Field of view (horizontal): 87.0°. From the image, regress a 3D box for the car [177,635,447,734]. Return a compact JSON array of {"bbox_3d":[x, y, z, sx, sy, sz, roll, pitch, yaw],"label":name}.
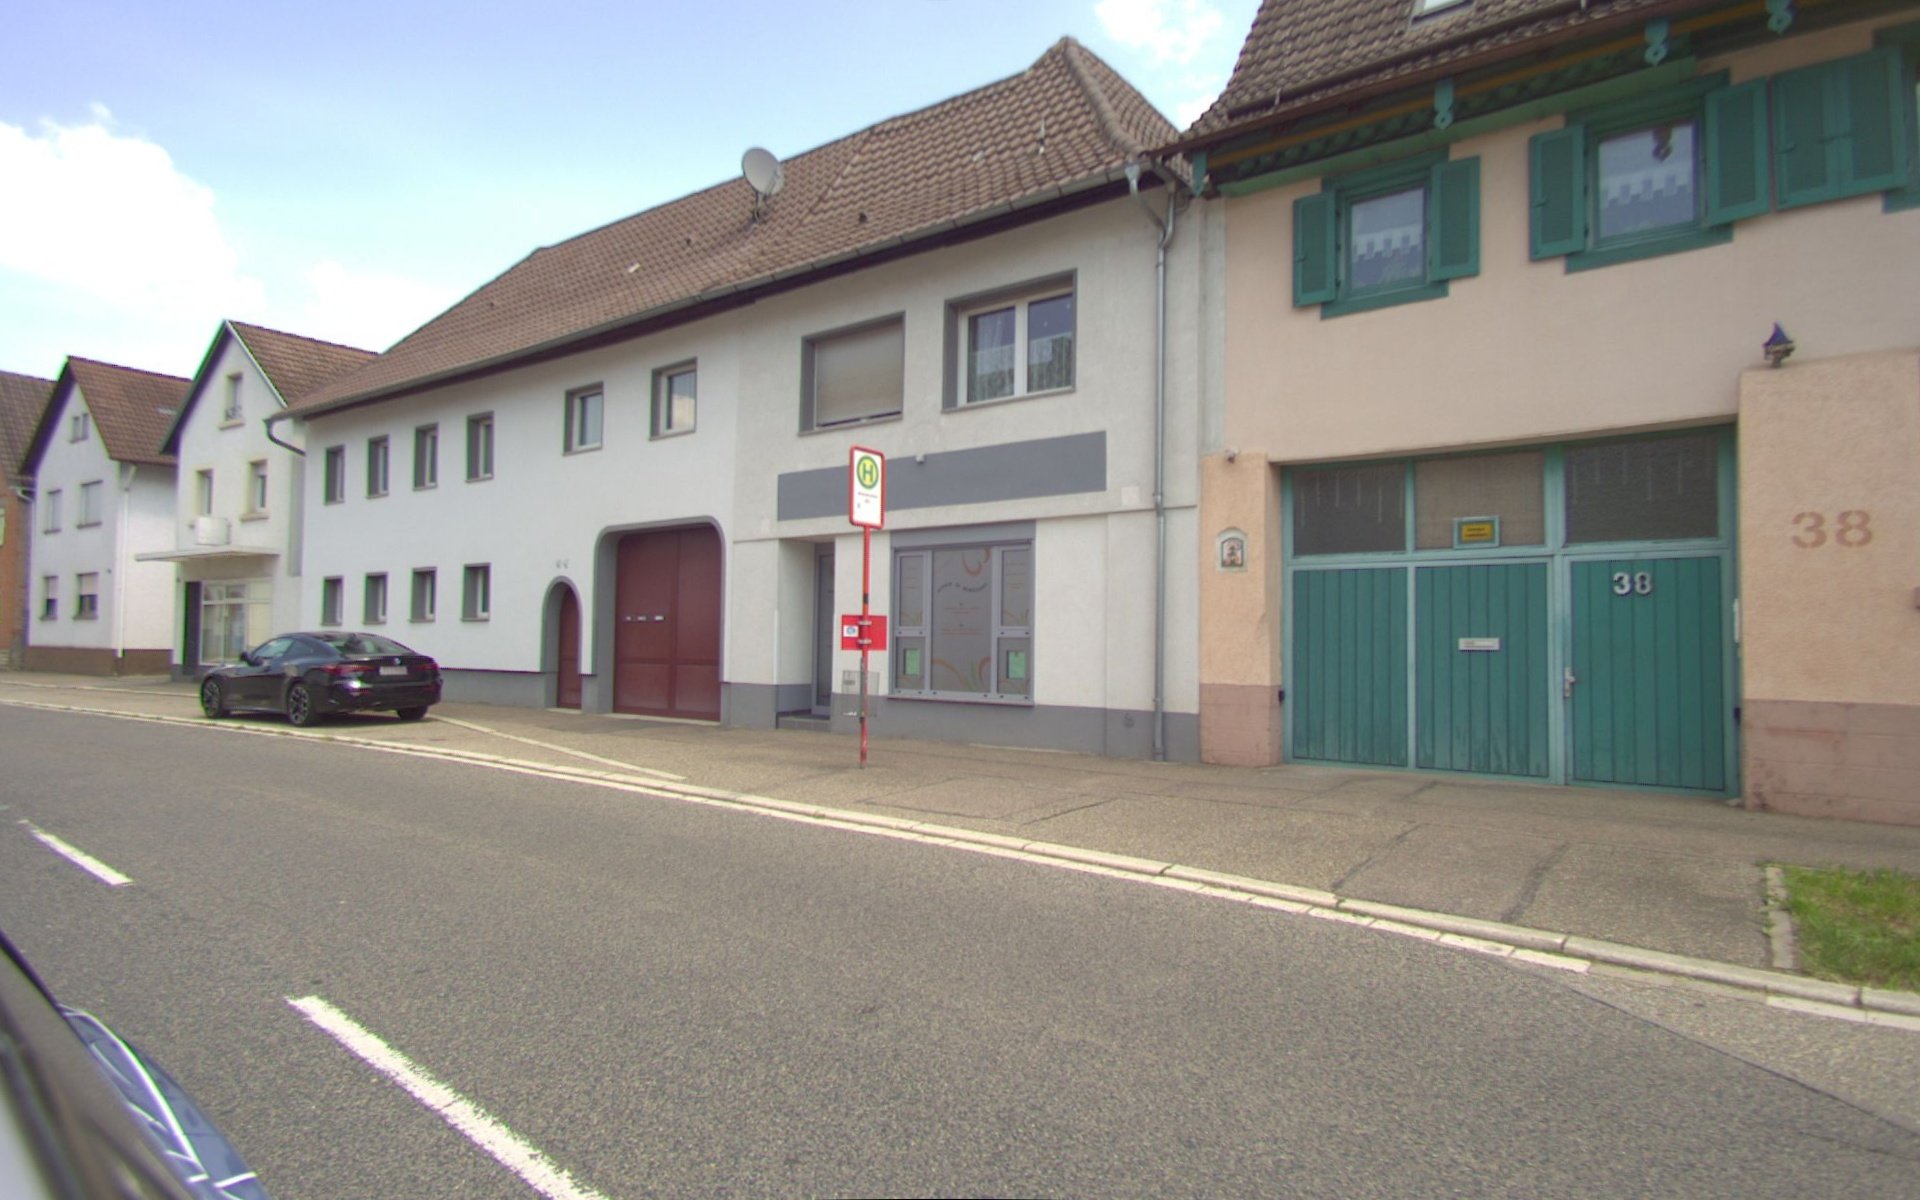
[{"bbox_3d":[-10.318,1.263,16.005,4.740,1.359,1.752,-2,-2,32],"label":"car"}]
